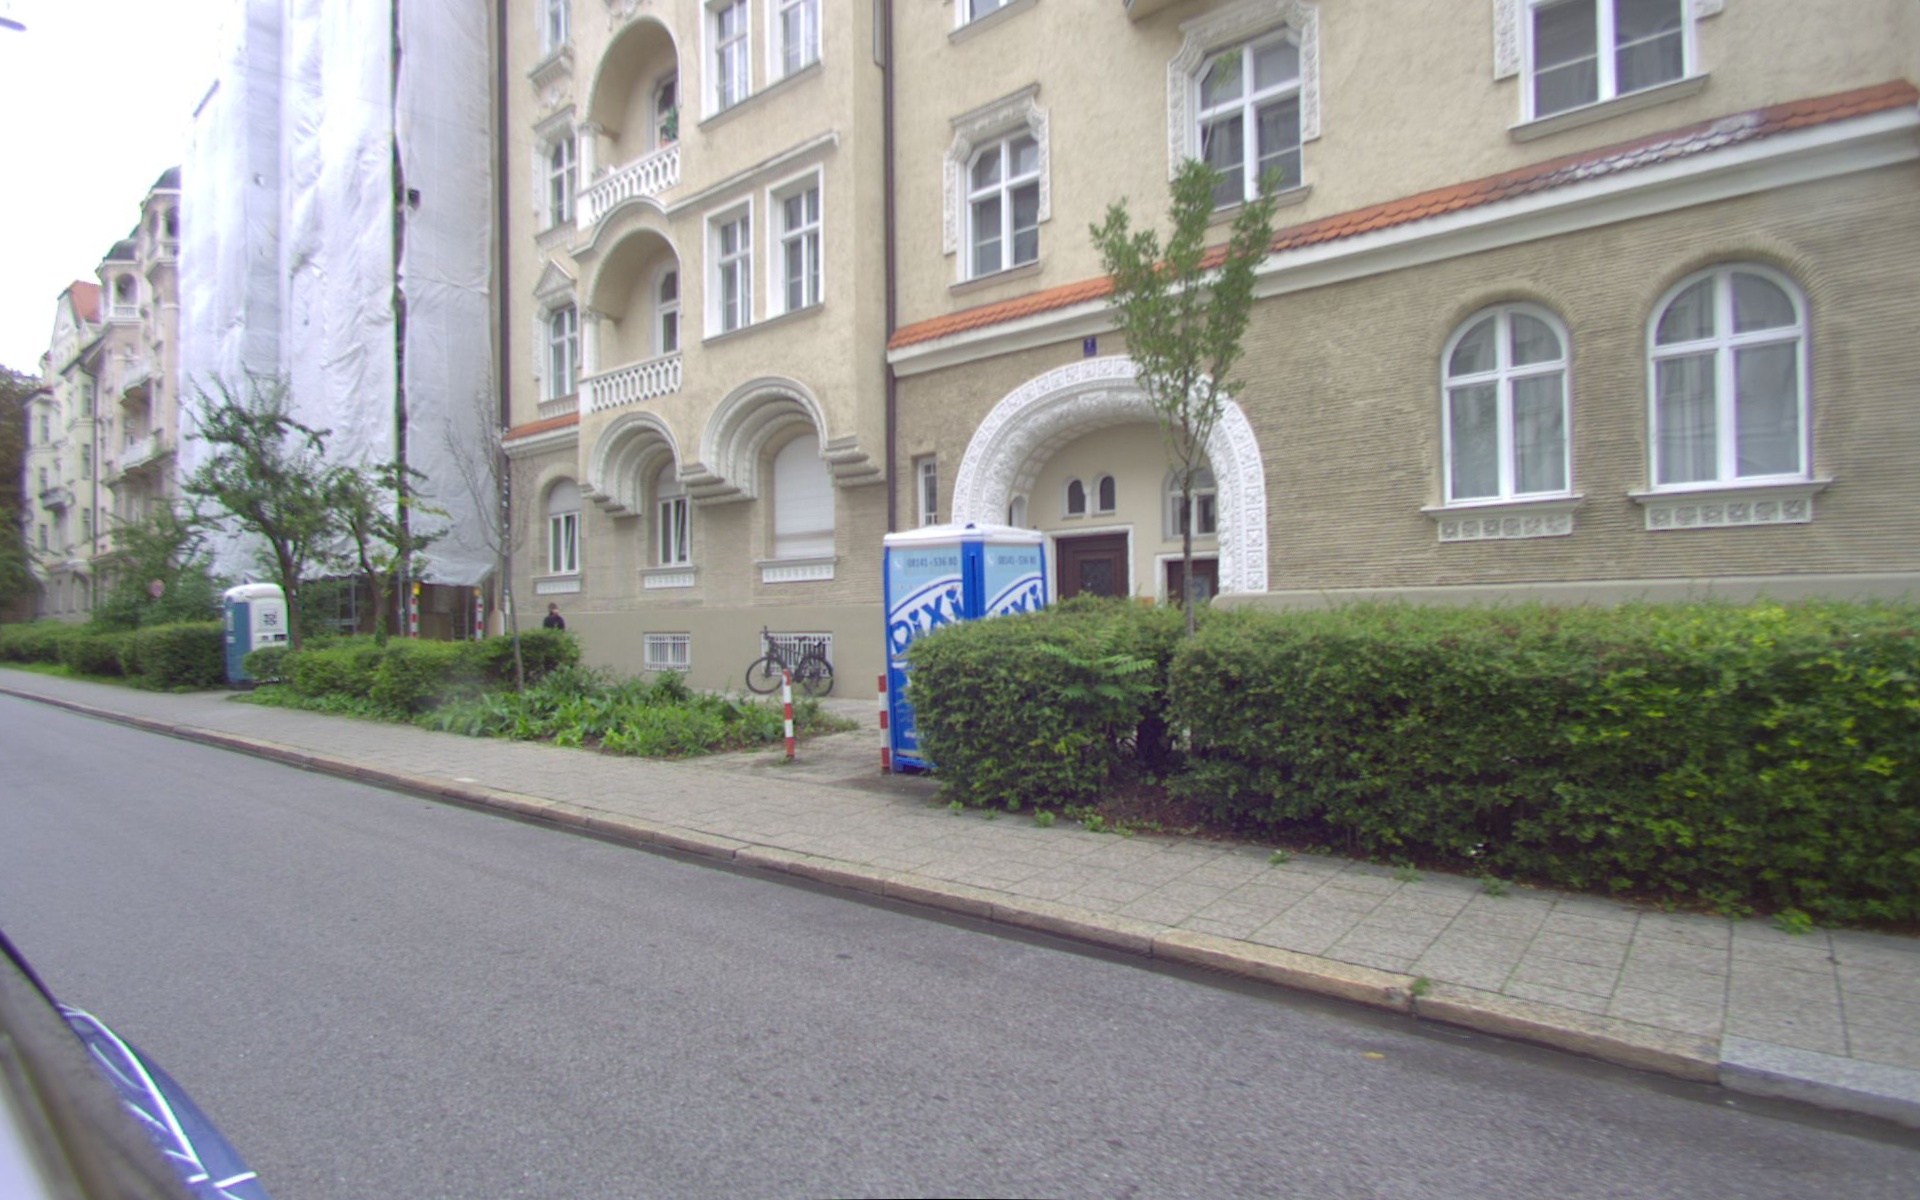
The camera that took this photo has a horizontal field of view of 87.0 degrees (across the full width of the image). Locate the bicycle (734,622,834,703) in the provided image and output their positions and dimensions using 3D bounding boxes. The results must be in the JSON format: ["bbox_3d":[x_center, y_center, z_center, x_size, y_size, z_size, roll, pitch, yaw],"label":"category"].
[{"bbox_3d":[-2.961,1.023,16.963,1.702,1.285,0.737,-2,-2,41],"label":"bicycle"}]

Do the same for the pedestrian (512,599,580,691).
[{"bbox_3d":[-8.158,0.872,19.967,0.947,1.765,0.904,-2,-2,39],"label":"pedestrian"}]
